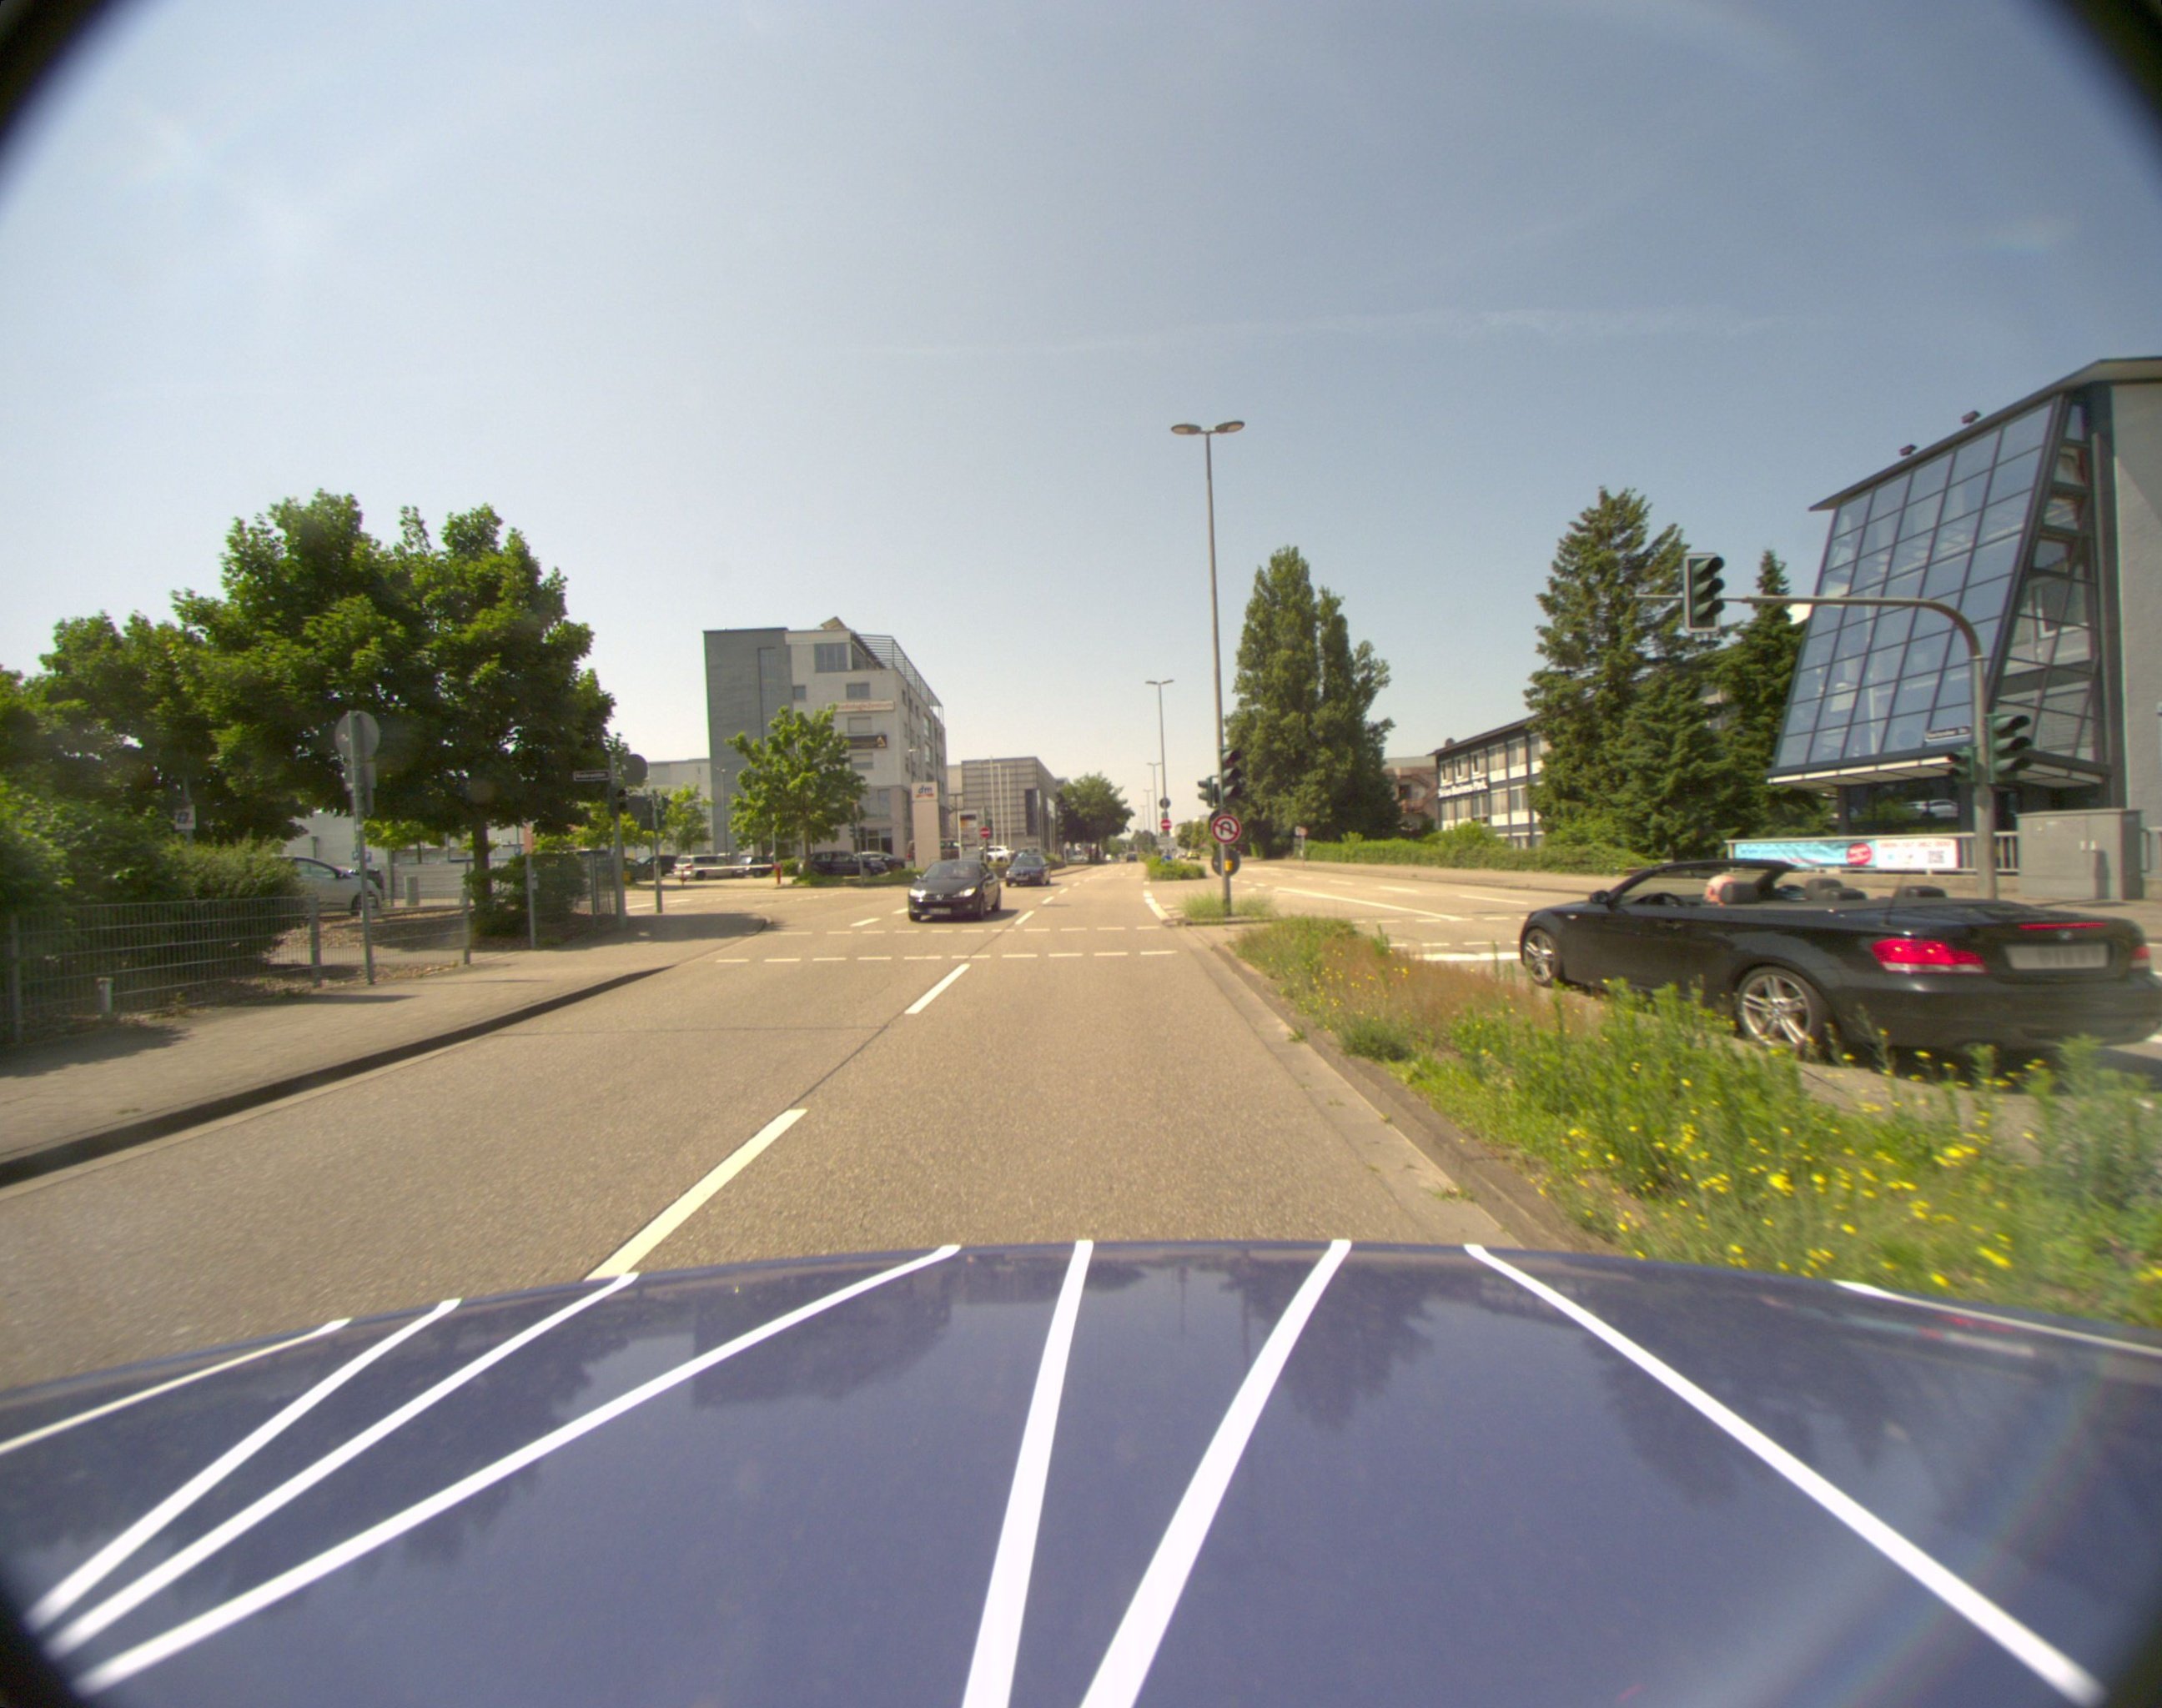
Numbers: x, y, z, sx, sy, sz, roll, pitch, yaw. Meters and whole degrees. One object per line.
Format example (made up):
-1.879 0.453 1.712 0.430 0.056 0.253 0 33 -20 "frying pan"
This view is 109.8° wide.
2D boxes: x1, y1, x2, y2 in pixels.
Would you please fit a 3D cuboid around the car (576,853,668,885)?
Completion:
-29.635 0.917 49.250 1.996 1.702 4.753 -3 1 23 "car"

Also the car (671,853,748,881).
-23.863 0.830 48.979 1.668 1.590 4.199 -1 1 28 "car"

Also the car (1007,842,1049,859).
-5.612 -0.376 80.352 4.136 1.477 1.758 -4 1 3 "car"

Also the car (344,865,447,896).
-34.158 1.281 37.997 1.751 1.346 3.605 -1 1 4 "car"

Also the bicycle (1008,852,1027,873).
-3.793 0.506 45.767 0.759 1.126 1.908 -4 1 4 "bicycle"

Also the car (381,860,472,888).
-41.629 1.223 48.408 1.718 1.630 4.006 -1 1 22 "car"

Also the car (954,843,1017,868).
-7.315 0.108 58.476 4.474 1.600 2.096 -4 1 0 "car"

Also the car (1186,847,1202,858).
17.099 -0.237 114.889 1.898 1.551 4.286 -1 1 1 "car"

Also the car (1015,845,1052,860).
-5.459 -0.196 87.640 4.136 1.477 1.758 -2 1 3 "car"

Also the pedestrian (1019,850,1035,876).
-3.527 0.607 49.890 0.830 1.616 1.005 -3 2 4 "pedestrian"

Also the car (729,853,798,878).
-20.757 0.729 49.863 1.996 1.477 4.005 -1 1 18 "car"

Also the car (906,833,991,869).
-8.228 -0.168 47.380 4.705 1.787 2.183 -5 0 4 "car"

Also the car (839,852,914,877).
-11.903 0.605 44.460 3.881 1.331 1.756 -2 1 -1 "car"

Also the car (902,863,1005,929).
-2.944 0.934 18.237 1.640 1.349 3.500 -1 1 4 "car"

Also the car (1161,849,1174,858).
14.349 -0.078 125.871 1.763 1.410 4.091 -2 1 1 "car"

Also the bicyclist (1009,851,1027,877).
-3.793 0.583 45.741 0.776 1.456 1.091 -4 1 4 "bicyclist"

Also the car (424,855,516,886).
-38.633 1.043 48.169 1.669 1.778 4.200 -3 -1 26 "car"

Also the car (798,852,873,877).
-15.257 0.634 47.305 4.008 1.390 1.810 -2 1 -44 "car"

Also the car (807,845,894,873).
-12.149 0.241 40.250 3.997 1.331 1.863 -2 1 -1 "car"

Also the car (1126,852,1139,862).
8.277 0.485 122.068 1.867 1.390 4.001 -1 0 5 "car"

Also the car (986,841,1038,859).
-6.558 -0.414 72.981 4.760 1.373 1.799 -4 1 0 "car"

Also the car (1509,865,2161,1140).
5.534 0.826 6.143 1.734 1.316 4.148 -2 1 -1 "car"

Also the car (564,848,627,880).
-35.407 0.691 55.483 1.669 2.180 3.436 -3 -1 31 "car"

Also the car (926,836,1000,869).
-7.790 -0.120 50.361 4.420 1.690 2.000 -5 2 2 "car"

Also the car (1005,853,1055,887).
-2.278 0.697 34.869 1.711 1.316 3.956 -2 1 4 "car"

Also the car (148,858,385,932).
-17.542 0.820 16.631 1.423 1.430 3.533 0 0 -1 "car"
